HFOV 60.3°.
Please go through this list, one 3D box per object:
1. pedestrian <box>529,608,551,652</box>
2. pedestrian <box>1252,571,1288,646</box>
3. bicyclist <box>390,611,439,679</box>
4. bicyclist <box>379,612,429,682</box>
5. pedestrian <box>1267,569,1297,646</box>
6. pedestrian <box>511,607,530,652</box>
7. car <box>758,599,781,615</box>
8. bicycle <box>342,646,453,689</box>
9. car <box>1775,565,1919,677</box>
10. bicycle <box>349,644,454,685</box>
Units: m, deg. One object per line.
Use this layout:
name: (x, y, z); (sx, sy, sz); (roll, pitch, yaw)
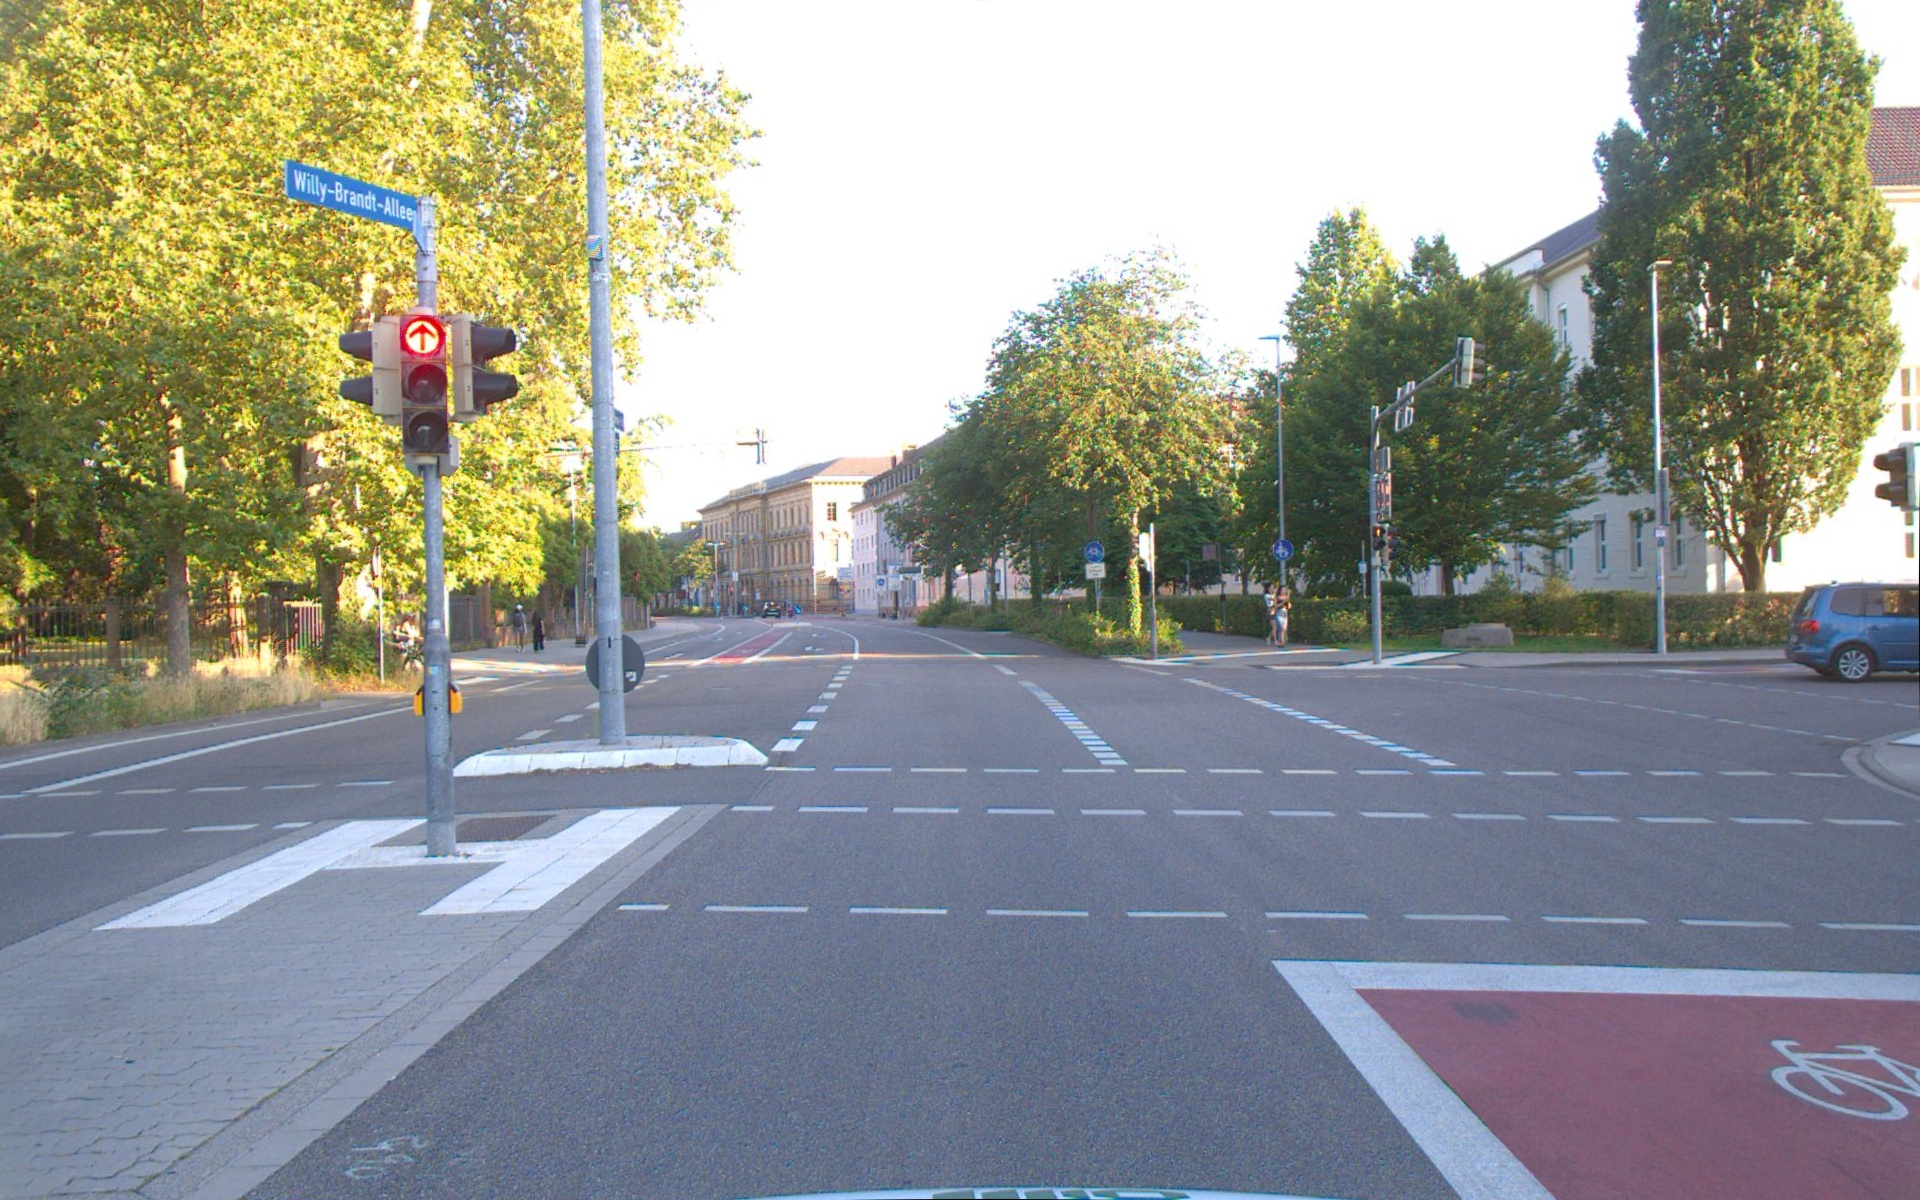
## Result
pedestrian: (-15.539, 1.089, 61.196); (0.587, 1.601, 0.646); (-1, 0, -1)
pedestrian: (8.620, 0.235, 46.063); (0.852, 2.049, 0.722); (0, 0, -1)
bicyclist: (-13.786, 1.129, 41.811); (0.938, 1.659, 0.752); (-1, 0, -1)
bicyclist: (-13.466, 1.126, 40.067); (0.938, 1.659, 0.752); (-1, 0, -1)
pedestrian: (8.685, 0.204, 44.675); (0.622, 2.049, 0.720); (0, 0, -5)
pedestrian: (-16.273, 1.085, 61.246); (0.524, 1.624, 0.590); (-1, 0, -1)
car: (-19.549, 0.717, 169.420); (1.789, 1.616, 3.984); (-2, 0, -15)
bicycle: (-13.612, 1.626, 40.056); (2.380, 0.940, 0.775); (-1, 0, 0)
car: (16.092, 0.315, 27.574); (4.190, 1.750, 1.857); (-1, 2, 15)
bicycle: (-14.111, 1.636, 41.812); (2.380, 0.940, 0.775); (-1, 0, 0)
